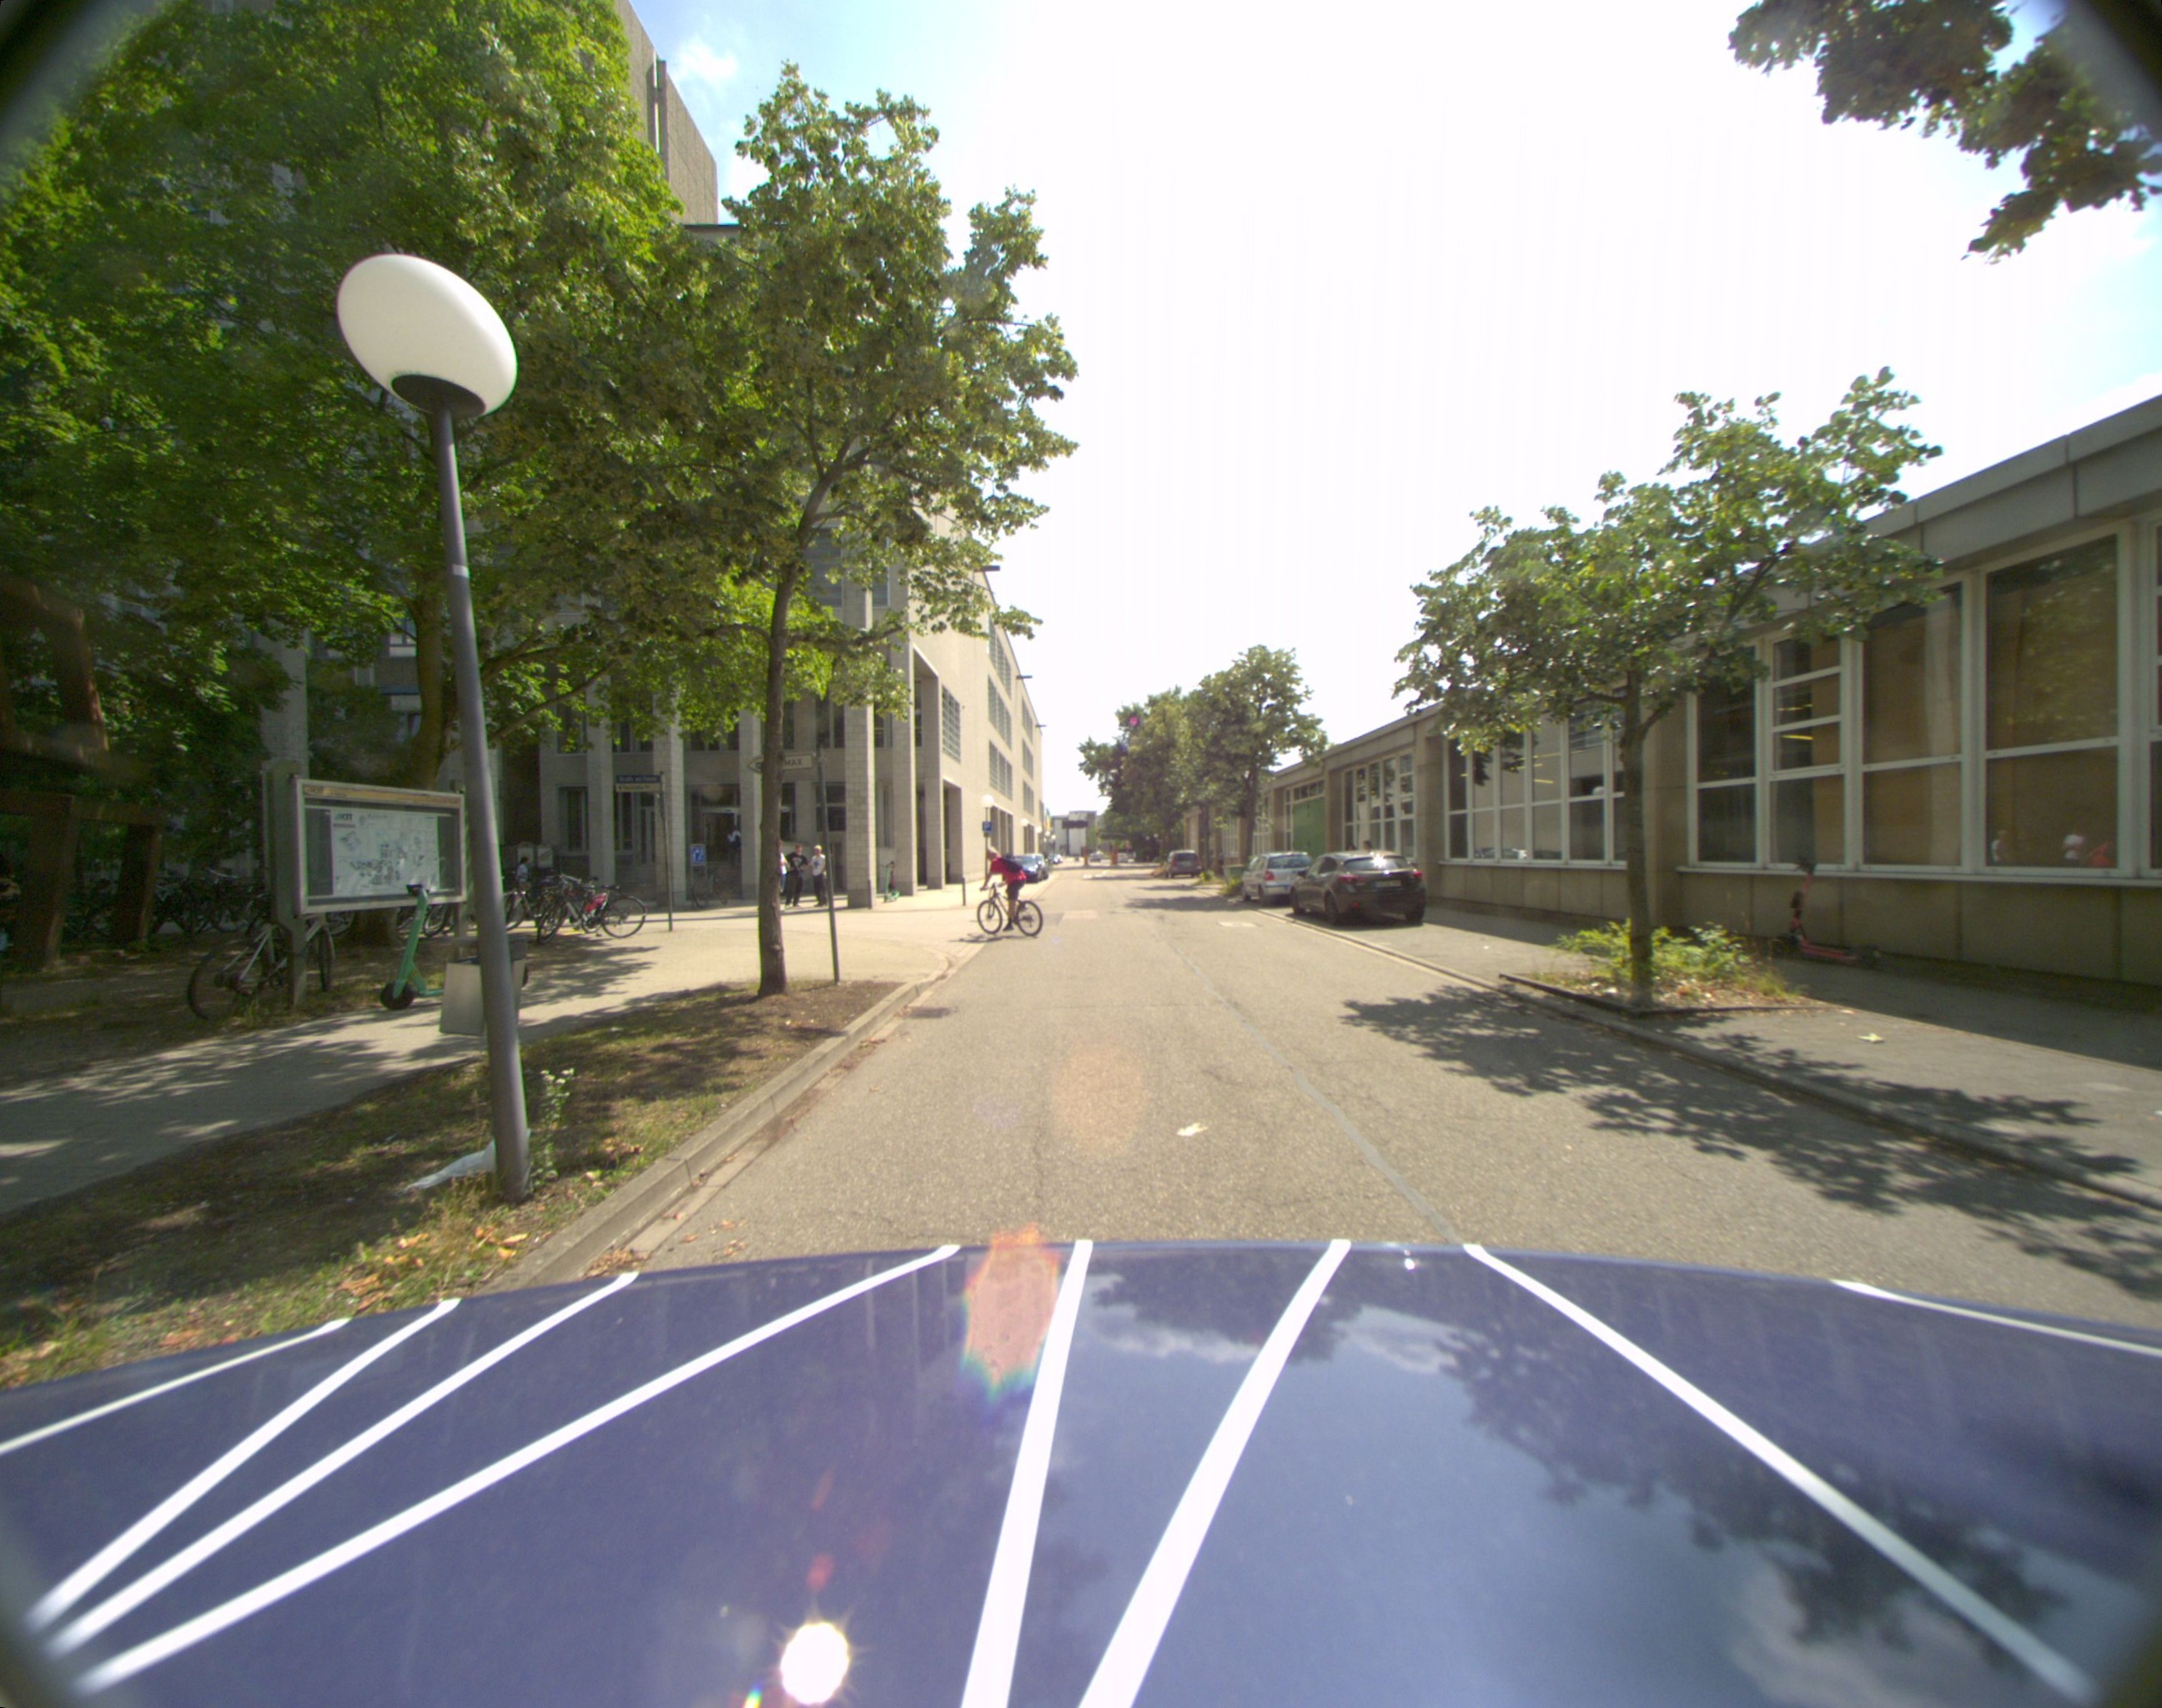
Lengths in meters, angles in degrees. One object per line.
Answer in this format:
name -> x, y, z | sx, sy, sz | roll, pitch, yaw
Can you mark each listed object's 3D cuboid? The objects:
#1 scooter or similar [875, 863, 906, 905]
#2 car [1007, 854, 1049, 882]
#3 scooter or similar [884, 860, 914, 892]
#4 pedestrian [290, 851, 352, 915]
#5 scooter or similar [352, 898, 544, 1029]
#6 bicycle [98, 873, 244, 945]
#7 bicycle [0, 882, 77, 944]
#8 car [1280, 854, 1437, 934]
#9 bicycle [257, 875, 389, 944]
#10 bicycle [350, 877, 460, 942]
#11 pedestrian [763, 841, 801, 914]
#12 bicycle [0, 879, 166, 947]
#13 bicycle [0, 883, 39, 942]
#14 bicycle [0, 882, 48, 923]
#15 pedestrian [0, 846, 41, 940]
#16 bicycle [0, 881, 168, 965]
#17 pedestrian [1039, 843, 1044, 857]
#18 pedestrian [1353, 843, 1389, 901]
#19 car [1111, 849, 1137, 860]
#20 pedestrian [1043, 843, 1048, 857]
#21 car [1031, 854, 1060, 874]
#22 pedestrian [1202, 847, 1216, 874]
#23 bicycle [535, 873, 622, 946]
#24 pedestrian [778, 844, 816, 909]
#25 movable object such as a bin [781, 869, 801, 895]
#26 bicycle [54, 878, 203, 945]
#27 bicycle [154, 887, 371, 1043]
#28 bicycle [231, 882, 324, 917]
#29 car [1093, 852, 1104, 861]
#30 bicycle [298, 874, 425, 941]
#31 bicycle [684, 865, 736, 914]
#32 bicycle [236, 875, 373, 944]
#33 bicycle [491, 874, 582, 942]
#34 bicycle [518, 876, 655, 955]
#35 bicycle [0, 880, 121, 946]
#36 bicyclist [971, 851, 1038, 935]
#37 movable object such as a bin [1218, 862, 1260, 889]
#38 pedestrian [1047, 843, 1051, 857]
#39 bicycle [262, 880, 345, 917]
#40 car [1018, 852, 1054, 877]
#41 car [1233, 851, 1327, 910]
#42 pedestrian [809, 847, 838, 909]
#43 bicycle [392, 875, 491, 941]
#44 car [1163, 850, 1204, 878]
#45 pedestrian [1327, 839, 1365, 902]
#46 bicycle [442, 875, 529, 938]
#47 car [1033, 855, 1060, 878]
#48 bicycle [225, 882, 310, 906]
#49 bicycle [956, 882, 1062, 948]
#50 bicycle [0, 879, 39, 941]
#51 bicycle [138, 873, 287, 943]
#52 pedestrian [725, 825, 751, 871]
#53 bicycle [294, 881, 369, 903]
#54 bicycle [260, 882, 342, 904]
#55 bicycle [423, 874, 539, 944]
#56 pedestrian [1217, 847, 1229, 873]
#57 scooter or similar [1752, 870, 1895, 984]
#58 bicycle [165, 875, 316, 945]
scooter or similar -> -5.854, 0.901, 23.449 | 0.564, 1.205, 1.510 | 2, 1, -1
car -> -2.729, 0.723, 39.723 | 1.843, 1.390, 3.878 | 1, -1, 1
scooter or similar -> -7.475, 0.881, 31.209 | 0.566, 1.205, 1.506 | -3, 4, -40
pedestrian -> -21.454, 0.795, 21.472 | 0.938, 1.730, 0.748 | -2, 1, -19
scooter or similar -> -6.163, 1.012, 7.475 | 0.496, 1.107, 1.365 | 0, -1, 25
bicycle -> -15.967, 0.929, 13.401 | 0.628, 1.143, 1.695 | -3, 0, -8
bicycle -> -18.896, 1.039, 13.223 | 0.617, 1.041, 1.688 | -3, 0, -4
car -> 5.759, 0.760, 16.372 | 1.729, 1.427, 4.289 | -3, 0, 0
bicycle -> -13.233, 0.933, 13.342 | 0.481, 1.118, 1.697 | 1, -1, 6
bicycle -> -12.051, 0.960, 13.607 | 0.481, 1.079, 1.516 | 1, -1, 6
pedestrian -> -8.015, 0.617, 20.368 | 0.687, 1.880, 0.686 | -2, 2, -2
bicycle -> -17.440, 1.004, 13.305 | 0.617, 1.041, 1.697 | -3, 0, 9
bicycle -> -19.477, 1.052, 13.185 | 0.501, 1.041, 1.688 | -3, 0, -4
bicycle -> -29.926, 1.360, 21.029 | 1.832, 1.097, 0.570 | -1, -1, -2
pedestrian -> -19.727, 0.704, 13.765 | 0.428, 1.693, 0.944 | -2, 0, -4
bicycle -> -14.280, 0.933, 10.691 | 0.463, 1.071, 1.829 | 1, -1, 9
pedestrian -> -4.732, -0.513, 90.592 | 0.441, 1.620, 0.570 | 2, 0, 1
pedestrian -> 7.768, 0.471, 20.378 | 0.795, 1.533, 0.665 | 0, 1, 30
car -> 6.454, 0.066, 114.019 | 3.674, 1.441, 1.804 | -3, 1, -1
pedestrian -> -4.233, -0.487, 90.569 | 0.383, 1.620, 0.519 | 2, 0, 1
car -> -2.559, 0.717, 55.084 | 1.843, 1.390, 3.878 | 1, -1, 1
pedestrian -> 7.741, 0.398, 45.946 | 0.604, 1.571, 0.552 | 1, 0, 31
bicycle -> -8.714, 0.933, 13.248 | 0.561, 1.135, 1.489 | 1, 1, -2
pedestrian -> -8.058, 0.628, 21.559 | 0.811, 1.787, 0.618 | -2, 2, -43
movable object such as a bin -> -10.939, 1.059, 28.663 | 0.513, 0.944, 0.512 | 2, 0, -1
bicycle -> -16.630, 0.965, 13.336 | 0.568, 1.041, 1.695 | -3, 0, -7
bicycle -> -7.350, 0.929, 6.945 | 0.629, 1.078, 1.684 | -3, 4, -22
bicycle -> -22.888, 1.281, 21.681 | 0.447, 0.894, 1.779 | -1, 0, 19
car -> 3.065, 0.392, 134.157 | 1.803, 1.441, 3.676 | -3, 0, 0
bicycle -> -12.546, 0.904, 13.326 | 0.481, 1.079, 1.697 | 1, -1, 6
bicycle -> -10.394, 0.976, 21.352 | 0.531, 1.235, 1.829 | 0, 1, 0
bicycle -> -13.737, 0.945, 13.507 | 0.565, 1.118, 1.697 | 1, -1, 6
bicycle -> -9.638, 0.925, 13.508 | 0.561, 1.134, 1.490 | 1, -1, -2
bicycle -> -8.075, 0.961, 12.493 | 0.604, 1.135, 1.790 | 2, 1, 33
bicycle -> -18.178, 1.016, 13.298 | 0.617, 1.041, 1.688 | -3, 0, -4
bicyclist -> -1.457, 0.727, 14.577 | 0.957, 1.534, 0.840 | -1, -1, 33
movable object such as a bin -> 6.345, 0.860, 30.616 | 1.295, 0.979, 1.696 | -3, 0, 1
pedestrian -> -3.802, -0.478, 90.554 | 0.383, 1.620, 0.519 | 2, 0, 1
bicycle -> -22.054, 1.243, 21.595 | 0.337, 0.894, 1.777 | -1, 1, 6
car -> -2.648, 0.621, 45.204 | 1.843, 1.390, 3.878 | 1, -1, 1
car -> 5.638, 0.700, 21.959 | 1.634, 1.441, 3.752 | -3, 0, 0
pedestrian -> -7.309, 0.667, 21.587 | 0.613, 1.719, 0.542 | -1, 1, 2
bicycle -> -11.291, 0.929, 13.477 | 0.460, 1.079, 1.474 | 1, -1, 2
car -> 5.902, 0.553, 44.149 | 1.803, 1.441, 3.676 | -3, 0, 0
pedestrian -> 7.353, 0.450, 21.107 | 0.797, 1.718, 0.601 | -1, 1, -4
bicycle -> -10.814, 0.928, 13.840 | 0.460, 1.079, 1.440 | 1, -1, -2
car -> -2.681, 0.946, 60.078 | 1.799, 1.691, 4.000 | 2, 0, 1
bicycle -> -27.450, 1.348, 25.660 | 1.990, 0.755, 0.643 | 0, -1, -9
bicycle -> -1.388, 1.131, 14.545 | 1.925, 1.036, 0.820 | 2, 5, 34
bicycle -> -20.074, 1.040, 13.632 | 0.454, 1.123, 1.688 | -3, 0, -4
bicycle -> -15.286, 0.918, 13.448 | 0.627, 1.143, 1.697 | 1, -1, 2
pedestrian -> -13.030, -0.224, 28.893 | 0.690, 1.724, 0.685 | -1, 1, -5
bicycle -> -27.017, 1.377, 27.403 | 1.989, 0.755, 0.644 | 0, -1, -2
bicycle -> -27.214, 1.363, 26.538 | 1.990, 0.755, 0.643 | 0, -1, -9
bicycle -> -10.380, 0.919, 13.213 | 0.491, 1.134, 1.529 | 1, -1, 20
pedestrian -> 8.567, 0.351, 45.810 | 0.605, 1.571, 0.551 | 1, 0, -2
scooter or similar -> 8.581, 0.805, 8.843 | 0.383, 1.200, 1.246 | -3, 0, 0
bicycle -> -14.578, 0.929, 13.254 | 0.627, 1.118, 1.697 | 1, -1, 6
